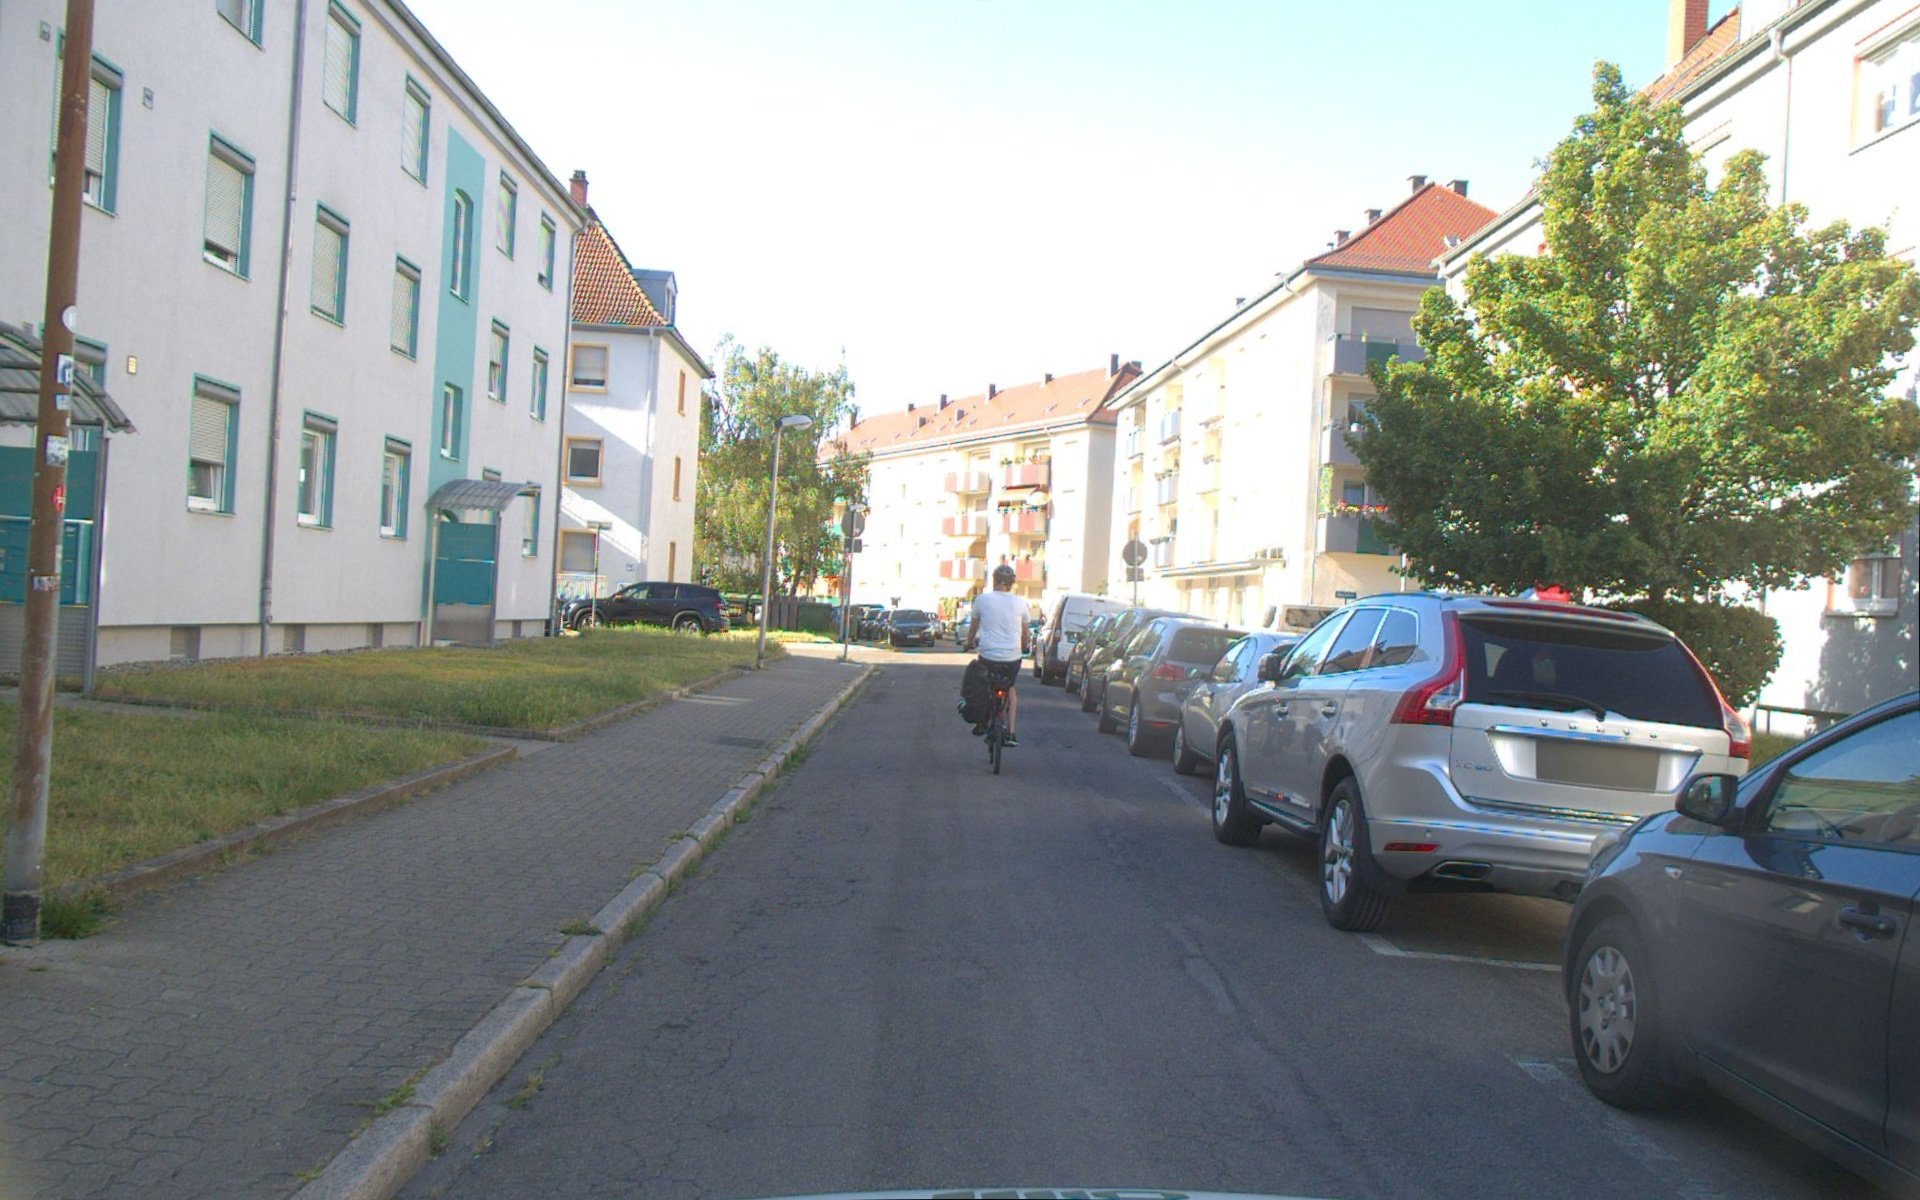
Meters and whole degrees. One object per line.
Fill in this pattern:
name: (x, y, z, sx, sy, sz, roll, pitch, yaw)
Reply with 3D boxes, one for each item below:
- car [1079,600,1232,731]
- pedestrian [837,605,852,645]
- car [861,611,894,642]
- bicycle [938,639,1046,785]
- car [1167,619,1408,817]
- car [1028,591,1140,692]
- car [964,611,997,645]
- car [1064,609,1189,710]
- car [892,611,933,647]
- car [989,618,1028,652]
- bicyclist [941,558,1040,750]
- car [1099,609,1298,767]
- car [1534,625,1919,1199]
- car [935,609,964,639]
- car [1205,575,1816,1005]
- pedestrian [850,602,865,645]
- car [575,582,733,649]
car: (2.684, 0.860, 23.362, 1.528, 1.604, 3.364, 4, 0, -3)
pedestrian: (-4.312, 0.940, 61.643, 0.425, 1.452, 0.543, 3, 0, -1)
car: (-3.837, 1.226, 76.634, 1.440, 1.359, 3.138, -1, 0, -4)
bicycle: (0.256, 0.970, 14.997, 0.792, 1.148, 2.100, 2, 0, -3)
car: (2.771, 0.944, 14.575, 1.363, 1.427, 3.244, 4, 0, -1)
car: (2.381, 0.766, 32.698, 1.641, 1.769, 3.940, 4, 0, -3)
car: (1.011, 1.384, 82.242, 1.354, 1.523, 3.075, 4, 0, -3)
car: (2.753, 0.955, 27.972, 1.528, 1.478, 3.364, 4, 0, -3)
car: (-1.919, 1.123, 65.650, 1.441, 1.359, 3.137, 0, 0, -5)
car: (2.186, 1.568, 75.278, 1.440, 1.358, 3.139, 4, 0, -3)
bicyclist: (0.268, 0.477, 15.118, 0.792, 1.672, 0.898, 2, 0, -3)
car: (2.539, 0.888, 18.426, 1.527, 1.436, 3.933, 4, 0, -1)
car: (3.007, 0.921, 4.050, 1.586, 1.485, 3.839, 5, 0, -3)
car: (-0.613, 1.368, 94.806, 1.440, 1.542, 3.075, 4, 0, -3)
car: (2.659, 0.794, 9.174, 1.667, 1.699, 4.377, 4, 0, -2)
pedestrian: (-3.828, 0.876, 61.771, 0.425, 1.601, 0.543, 3, 0, -1)
car: (-8.597, 0.421, 46.725, 4.149, 1.667, 1.581, 3, 0, -5)
